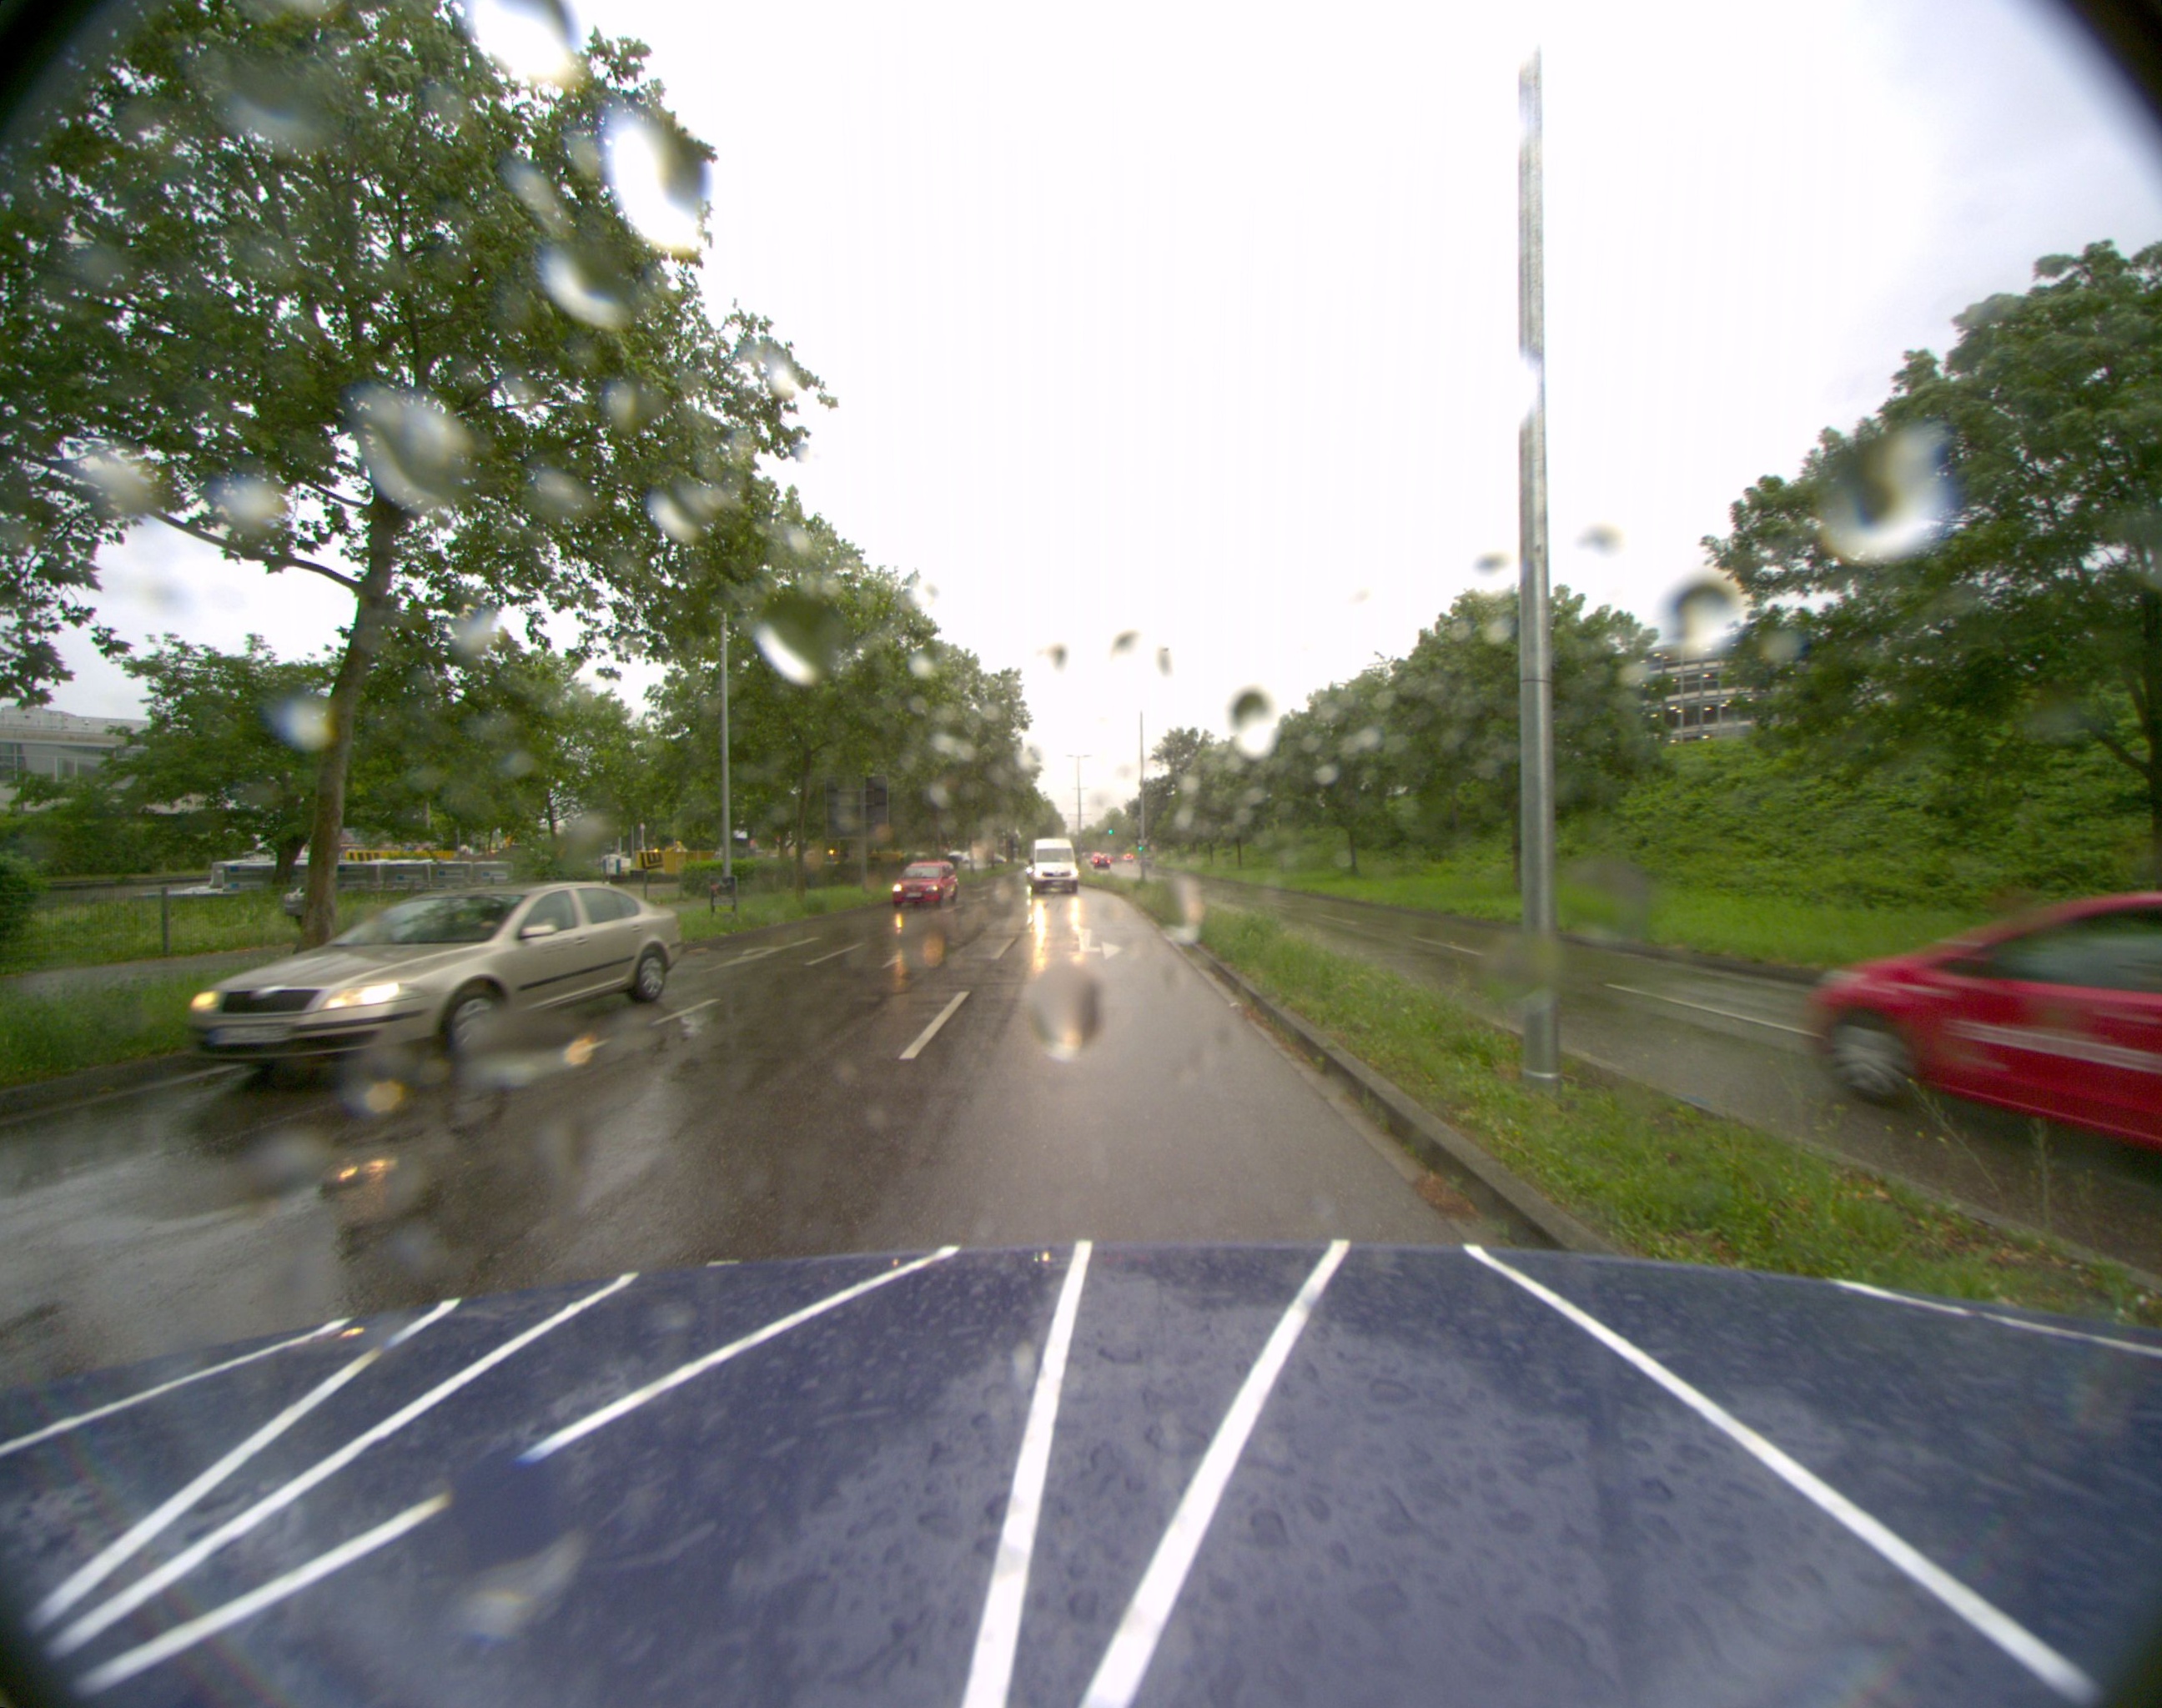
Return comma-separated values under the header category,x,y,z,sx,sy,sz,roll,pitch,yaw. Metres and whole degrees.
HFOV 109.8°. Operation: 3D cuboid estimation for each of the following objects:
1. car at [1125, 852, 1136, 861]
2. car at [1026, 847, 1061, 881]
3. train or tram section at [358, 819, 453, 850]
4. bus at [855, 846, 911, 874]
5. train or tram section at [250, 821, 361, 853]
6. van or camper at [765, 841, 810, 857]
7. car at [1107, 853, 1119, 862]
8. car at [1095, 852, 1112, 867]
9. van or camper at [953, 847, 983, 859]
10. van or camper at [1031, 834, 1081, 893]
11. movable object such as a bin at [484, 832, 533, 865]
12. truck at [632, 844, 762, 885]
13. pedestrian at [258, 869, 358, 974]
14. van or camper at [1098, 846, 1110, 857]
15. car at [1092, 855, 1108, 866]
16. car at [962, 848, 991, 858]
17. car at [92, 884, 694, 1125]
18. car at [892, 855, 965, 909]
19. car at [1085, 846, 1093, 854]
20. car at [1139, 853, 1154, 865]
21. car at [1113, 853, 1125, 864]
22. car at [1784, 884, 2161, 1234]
category,x,y,z,sx,sy,sz,roll,pitch,yaw
car,8.941,0.419,137.570,1.840,1.493,4.439,1,0,1
car,-2.430,0.629,50.705,1.935,2.120,4.557,-2,1,1
train or tram section,-82.155,-2.379,92.621,8.385,3.500,2.394,-3,3,-38
bus,-19.376,0.599,74.449,4.804,2.632,2.000,-1,1,1
train or tram section,-88.873,-2.012,87.376,8.546,3.500,2.394,-3,3,-38
van or camper,-65.846,-1.190,170.605,8.994,3.140,2.979,-3,2,-35
car,5.761,0.690,138.291,1.913,1.565,4.708,2,0,1
car,2.554,0.619,87.524,1.828,1.566,4.358,0,1,1
van or camper,-19.849,-0.116,133.446,4.918,2.076,1.863,0,1,-38
van or camper,-1.130,0.418,36.731,2.100,2.580,4.775,-2,1,1
movable object such as a bin,-63.665,-0.609,84.522,3.602,3.605,3.326,0,1,35
truck,-33.020,0.844,65.558,9.517,3.015,3.073,-3,2,-35
pedestrian,-13.736,1.169,13.541,0.666,1.752,1.075,-1,1,-5
van or camper,3.847,-0.368,127.533,1.733,1.732,3.999,2,1,-1
car,2.829,0.921,114.011,1.914,1.565,4.707,1,0,-3
car,-17.965,-0.205,130.608,4.470,1.663,1.863,0,1,-38
car,-5.841,1.124,7.413,1.807,1.422,4.386,-1,1,1
car,-5.601,0.968,28.396,1.699,1.759,4.557,-1,1,1
car,2.233,-1.129,201.185,1.998,2.002,3.999,-2,2,1
car,8.887,0.681,103.248,1.700,1.608,3.847,-1,0,1
car,6.124,0.669,121.536,1.724,1.609,4.347,1,2,6
car,5.726,0.970,3.461,1.720,1.504,3.614,1,0,1
